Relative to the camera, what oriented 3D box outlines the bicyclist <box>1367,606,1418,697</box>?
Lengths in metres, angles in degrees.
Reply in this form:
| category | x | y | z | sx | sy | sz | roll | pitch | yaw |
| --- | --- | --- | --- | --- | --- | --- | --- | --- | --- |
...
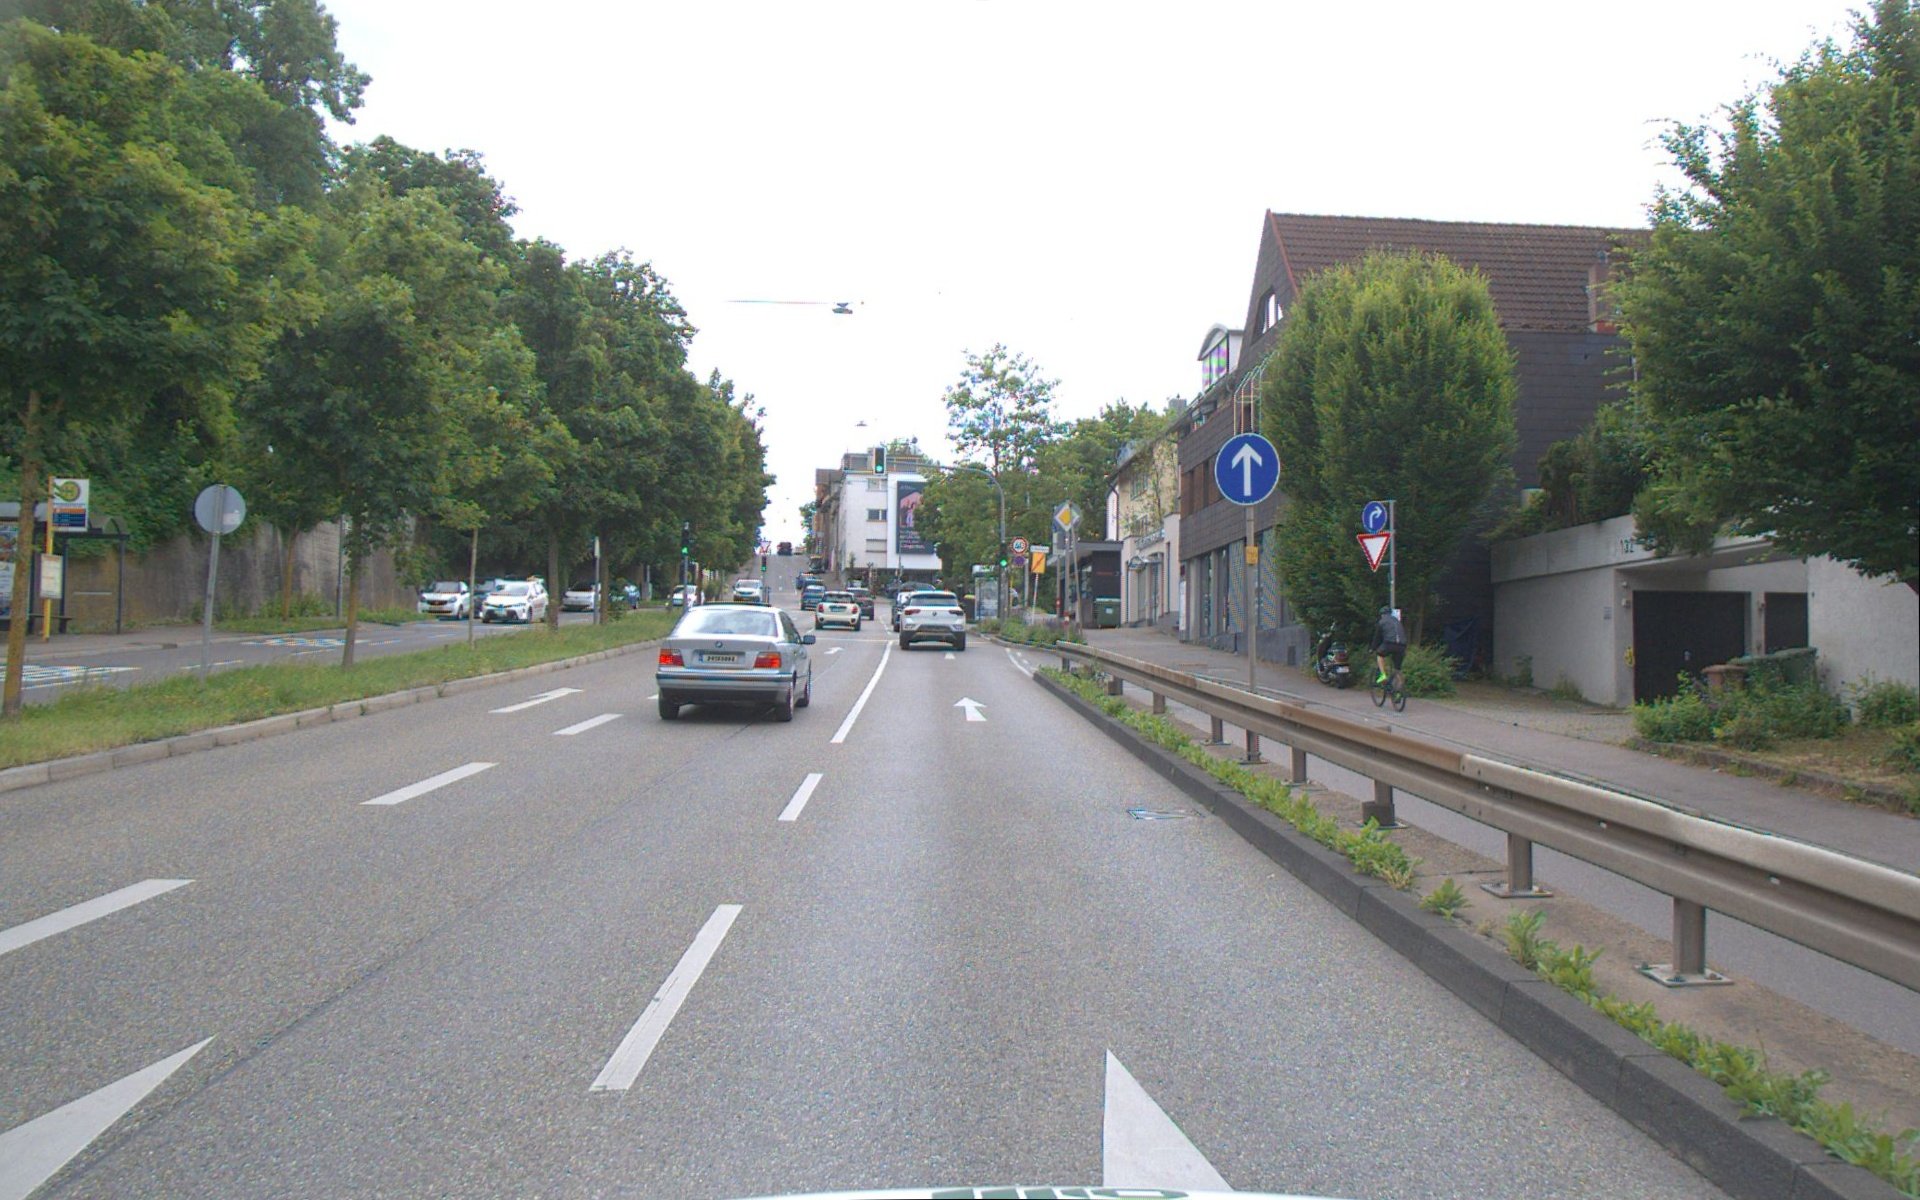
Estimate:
| category | x | y | z | sx | sy | sz | roll | pitch | yaw |
| --- | --- | --- | --- | --- | --- | --- | --- | --- | --- |
| bicyclist | 7.667 | 0.894 | 29.322 | 0.555 | 1.551 | 0.958 | -2 | 0 | -4 |

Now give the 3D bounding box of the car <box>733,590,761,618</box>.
| category | x | y | z | sx | sy | sz | roll | pitch | yaw |
| --- | --- | --- | --- | --- | --- | --- | --- | --- | --- |
| car | -15.275 | 0.278 | 118.707 | 1.635 | 1.898 | 3.243 | -1 | 1 | -3 |

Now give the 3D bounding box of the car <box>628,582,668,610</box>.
| category | x | y | z | sx | sy | sz | roll | pitch | yaw |
| --- | --- | --- | --- | --- | --- | --- | --- | --- | --- |
| car | -19.006 | -0.258 | 100.834 | 1.823 | 1.568 | 4.277 | 2 | 1 | -4 |

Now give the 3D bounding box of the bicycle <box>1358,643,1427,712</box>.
| category | x | y | z | sx | sy | sz | roll | pitch | yaw |
| --- | --- | --- | --- | --- | --- | --- | --- | --- | --- |
| bicycle | 7.686 | 1.358 | 29.483 | 0.555 | 1.081 | 2.004 | -2 | 1 | -4 |

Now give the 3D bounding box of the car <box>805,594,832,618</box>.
| category | x | y | z | sx | sy | sz | roll | pitch | yaw |
| --- | --- | --- | --- | --- | --- | --- | --- | --- | --- |
| car | -9.686 | 0.415 | 113.374 | 1.689 | 1.610 | 3.453 | -2 | 0 | -4 |

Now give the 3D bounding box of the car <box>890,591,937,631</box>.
| category | x | y | z | sx | sy | sz | roll | pitch | yaw |
| --- | --- | --- | --- | --- | --- | --- | --- | --- | --- |
| car | -1.789 | 0.414 | 62.912 | 1.688 | 1.400 | 3.454 | -2 | 0 | -3 |

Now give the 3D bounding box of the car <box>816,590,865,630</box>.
| category | x | y | z | sx | sy | sz | roll | pitch | yaw |
| --- | --- | --- | --- | --- | --- | --- | --- | --- | --- |
| car | -4.488 | 0.376 | 62.557 | 1.688 | 1.400 | 3.454 | -2 | 0 | -3 |

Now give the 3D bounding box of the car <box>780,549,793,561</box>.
| category | x | y | z | sx | sy | sz | roll | pitch | yaw |
| --- | --- | --- | --- | --- | --- | --- | --- | --- | --- |
| car | -24.599 | -6.350 | 234.435 | 1.787 | 1.534 | 3.996 | 2 | 1 | -5 |

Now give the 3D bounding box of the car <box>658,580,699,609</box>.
| category | x | y | z | sx | sy | sz | roll | pitch | yaw |
| --- | --- | --- | --- | --- | --- | --- | --- | --- | --- |
| car | -16.390 | -0.359 | 96.364 | 1.823 | 1.568 | 4.277 | 2 | 1 | -4 |

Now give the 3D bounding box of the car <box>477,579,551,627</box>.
| category | x | y | z | sx | sy | sz | roll | pitch | yaw |
| --- | --- | --- | --- | --- | --- | --- | --- | --- | --- |
| car | -16.967 | 0.095 | 63.097 | 1.823 | 1.699 | 4.277 | 2 | 1 | -4 |

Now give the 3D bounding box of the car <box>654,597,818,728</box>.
| category | x | y | z | sx | sy | sz | roll | pitch | yaw |
| --- | --- | --- | --- | --- | --- | --- | --- | --- | --- |
| car | -2.767 | 0.717 | 21.301 | 1.601 | 1.407 | 4.618 | 2 | 1 | -2 |

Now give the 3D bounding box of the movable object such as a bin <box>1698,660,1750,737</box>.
| category | x | y | z | sx | sy | sz | roll | pitch | yaw |
| --- | --- | --- | --- | --- | --- | --- | --- | --- | --- |
| movable object such as a bin | 11.229 | 1.439 | 24.315 | 0.484 | 1.076 | 0.538 | 2 | 0 | -1 |

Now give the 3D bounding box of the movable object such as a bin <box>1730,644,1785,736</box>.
| category | x | y | z | sx | sy | sz | roll | pitch | yaw |
| --- | --- | --- | --- | --- | --- | --- | --- | --- | --- |
| movable object such as a bin | 11.727 | 1.317 | 24.329 | 0.484 | 1.295 | 0.538 | 2 | 0 | -1 |

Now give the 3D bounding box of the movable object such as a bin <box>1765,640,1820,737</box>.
| category | x | y | z | sx | sy | sz | roll | pitch | yaw |
| --- | --- | --- | --- | --- | --- | --- | --- | --- | --- |
| movable object such as a bin | 12.318 | 1.302 | 24.486 | 0.484 | 1.387 | 0.538 | 2 | 0 | -1 |

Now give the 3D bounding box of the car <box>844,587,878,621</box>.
| category | x | y | z | sx | sy | sz | roll | pitch | yaw |
| --- | --- | --- | --- | --- | --- | --- | --- | --- | --- |
| car | -5.218 | 0.216 | 86.733 | 1.689 | 1.668 | 3.453 | -2 | 0 | -4 |

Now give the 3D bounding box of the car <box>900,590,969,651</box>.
| category | x | y | z | sx | sy | sz | roll | pitch | yaw |
| --- | --- | --- | --- | --- | --- | --- | --- | --- | --- |
| car | -0.735 | 0.563 | 45.429 | 1.761 | 1.545 | 3.455 | -2 | 0 | -2 |

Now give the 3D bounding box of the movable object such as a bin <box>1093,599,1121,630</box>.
| category | x | y | z | sx | sy | sz | roll | pitch | yaw |
| --- | --- | --- | --- | --- | --- | --- | --- | --- | --- |
| movable object such as a bin | 6.898 | 0.674 | 77.470 | 1.171 | 1.433 | 0.711 | 2 | 0 | -2 |

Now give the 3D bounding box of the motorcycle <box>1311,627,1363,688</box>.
| category | x | y | z | sx | sy | sz | roll | pitch | yaw |
| --- | --- | --- | --- | --- | --- | --- | --- | --- | --- |
| motorcycle | 7.921 | 1.197 | 34.796 | 0.596 | 1.182 | 2.040 | -1 | 1 | -1 |

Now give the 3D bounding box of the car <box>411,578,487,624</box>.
| category | x | y | z | sx | sy | sz | roll | pitch | yaw |
| --- | --- | --- | --- | --- | --- | --- | --- | --- | --- |
| car | -20.169 | 0.007 | 65.459 | 1.823 | 1.699 | 4.277 | 2 | 1 | -4 |

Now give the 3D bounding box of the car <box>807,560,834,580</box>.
| category | x | y | z | sx | sy | sz | roll | pitch | yaw |
| --- | --- | --- | --- | --- | --- | --- | --- | --- | --- |
| car | -15.449 | -3.282 | 183.376 | 2.459 | 2.048 | 5.180 | 2 | 1 | -1 |

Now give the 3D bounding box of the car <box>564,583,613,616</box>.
| category | x | y | z | sx | sy | sz | roll | pitch | yaw |
| --- | --- | --- | --- | --- | --- | --- | --- | --- | --- |
| car | -19.703 | -0.029 | 87.835 | 1.823 | 1.621 | 4.277 | 2 | 1 | -4 |

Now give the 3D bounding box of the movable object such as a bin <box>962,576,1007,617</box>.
| category | x | y | z | sx | sy | sz | roll | pitch | yaw |
| --- | --- | --- | --- | --- | --- | --- | --- | --- | --- |
| movable object such as a bin | 1.192 | -0.165 | 80.387 | 1.857 | 1.902 | 1.525 | 2 | 0 | -10 |
